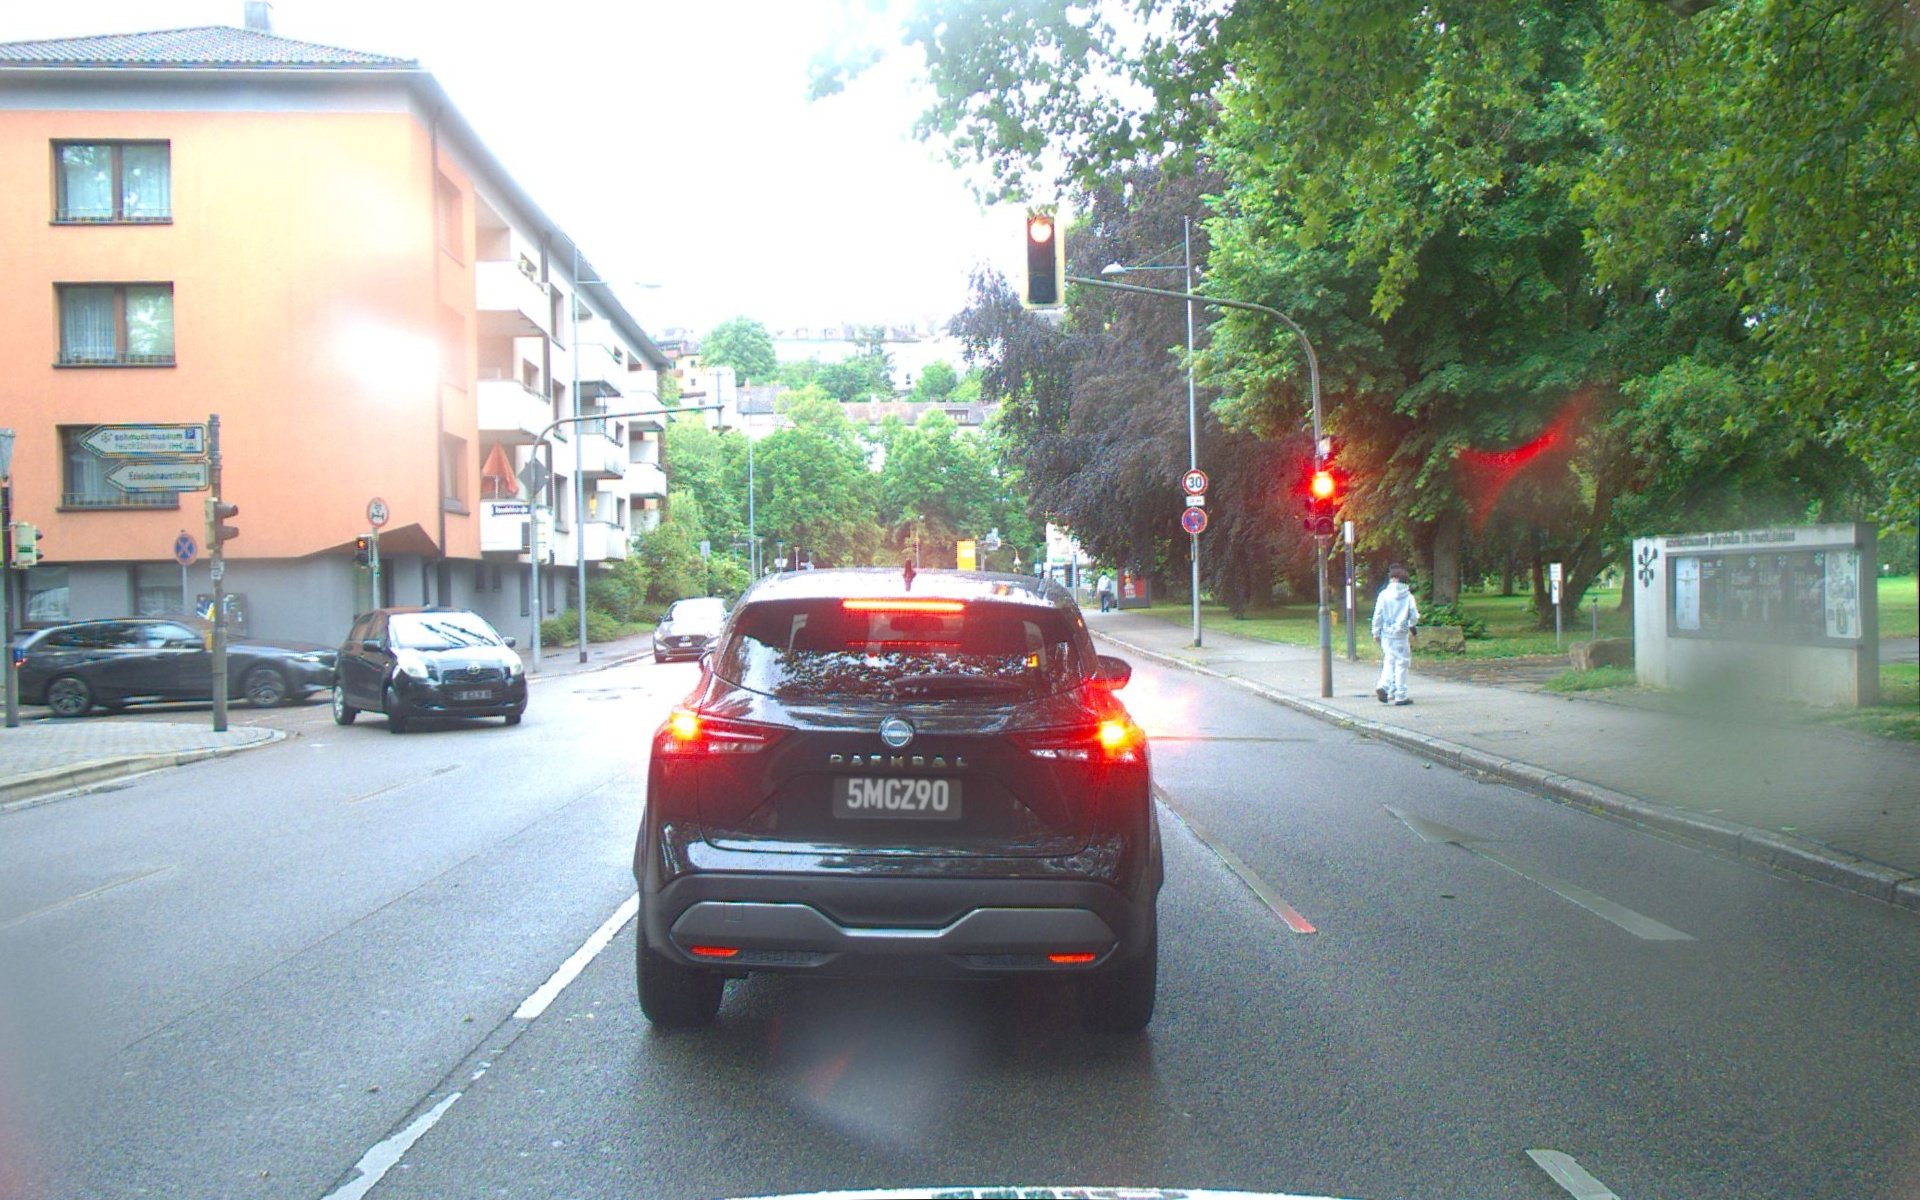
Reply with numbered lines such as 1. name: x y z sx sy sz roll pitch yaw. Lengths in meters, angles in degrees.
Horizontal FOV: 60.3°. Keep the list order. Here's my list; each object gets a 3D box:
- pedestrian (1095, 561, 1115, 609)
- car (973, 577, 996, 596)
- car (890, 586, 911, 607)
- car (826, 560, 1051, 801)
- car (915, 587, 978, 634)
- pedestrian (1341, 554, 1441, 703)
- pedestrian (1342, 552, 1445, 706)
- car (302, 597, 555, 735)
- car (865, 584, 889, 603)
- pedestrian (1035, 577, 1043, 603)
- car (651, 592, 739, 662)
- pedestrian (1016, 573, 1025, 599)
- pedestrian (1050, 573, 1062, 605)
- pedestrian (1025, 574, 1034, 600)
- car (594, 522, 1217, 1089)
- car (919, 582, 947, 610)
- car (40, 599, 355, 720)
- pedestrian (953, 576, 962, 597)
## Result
1. pedestrian: 6.349 -0.648 72.323 0.710 2.049 0.851 -2 0 -1
2. car: 2.344 -1.258 157.741 1.952 1.765 4.002 1 0 4
3. car: -4.763 -0.284 132.631 1.601 1.559 3.967 -2 0 -1
4. car: -0.188 0.599 14.455 1.664 1.776 3.640 -2 0 -1
5. car: -0.495 0.332 55.179 1.790 1.428 4.647 -2 0 -4
6. pedestrian: 5.779 0.373 22.196 1.017 1.908 0.656 -3 0 -11
7. pedestrian: 5.613 0.368 21.442 1.017 1.908 0.656 -3 0 -11
8. car: -6.950 0.812 21.418 1.785 1.560 3.811 -2 0 -40
9. car: -7.180 -0.590 143.379 1.930 1.559 3.967 -2 0 -1
10. pedestrian: 5.626 -0.738 117.697 0.498 1.833 0.619 -2 0 -2
11. car: -6.477 0.627 40.764 1.760 1.560 3.864 -2 0 -4
12. pedestrian: 4.310 -1.017 117.601 0.498 1.833 0.619 -2 0 -1
13. pedestrian: 5.443 -0.622 93.911 0.498 1.833 0.620 -2 0 19
14. pedestrian: 4.935 -0.914 117.707 0.498 1.833 0.659 -2 0 -1
15. car: -0.185 0.610 7.001 1.874 1.709 3.999 0 0 -1
16. car: -1.626 -0.264 98.608 1.601 1.559 3.967 -2 0 -1
17. car: -12.197 0.912 26.676 4.217 1.707 1.725 -2 0 -7
18. pedestrian: -0.202 -1.101 135.116 0.498 1.702 0.658 -2 0 27
